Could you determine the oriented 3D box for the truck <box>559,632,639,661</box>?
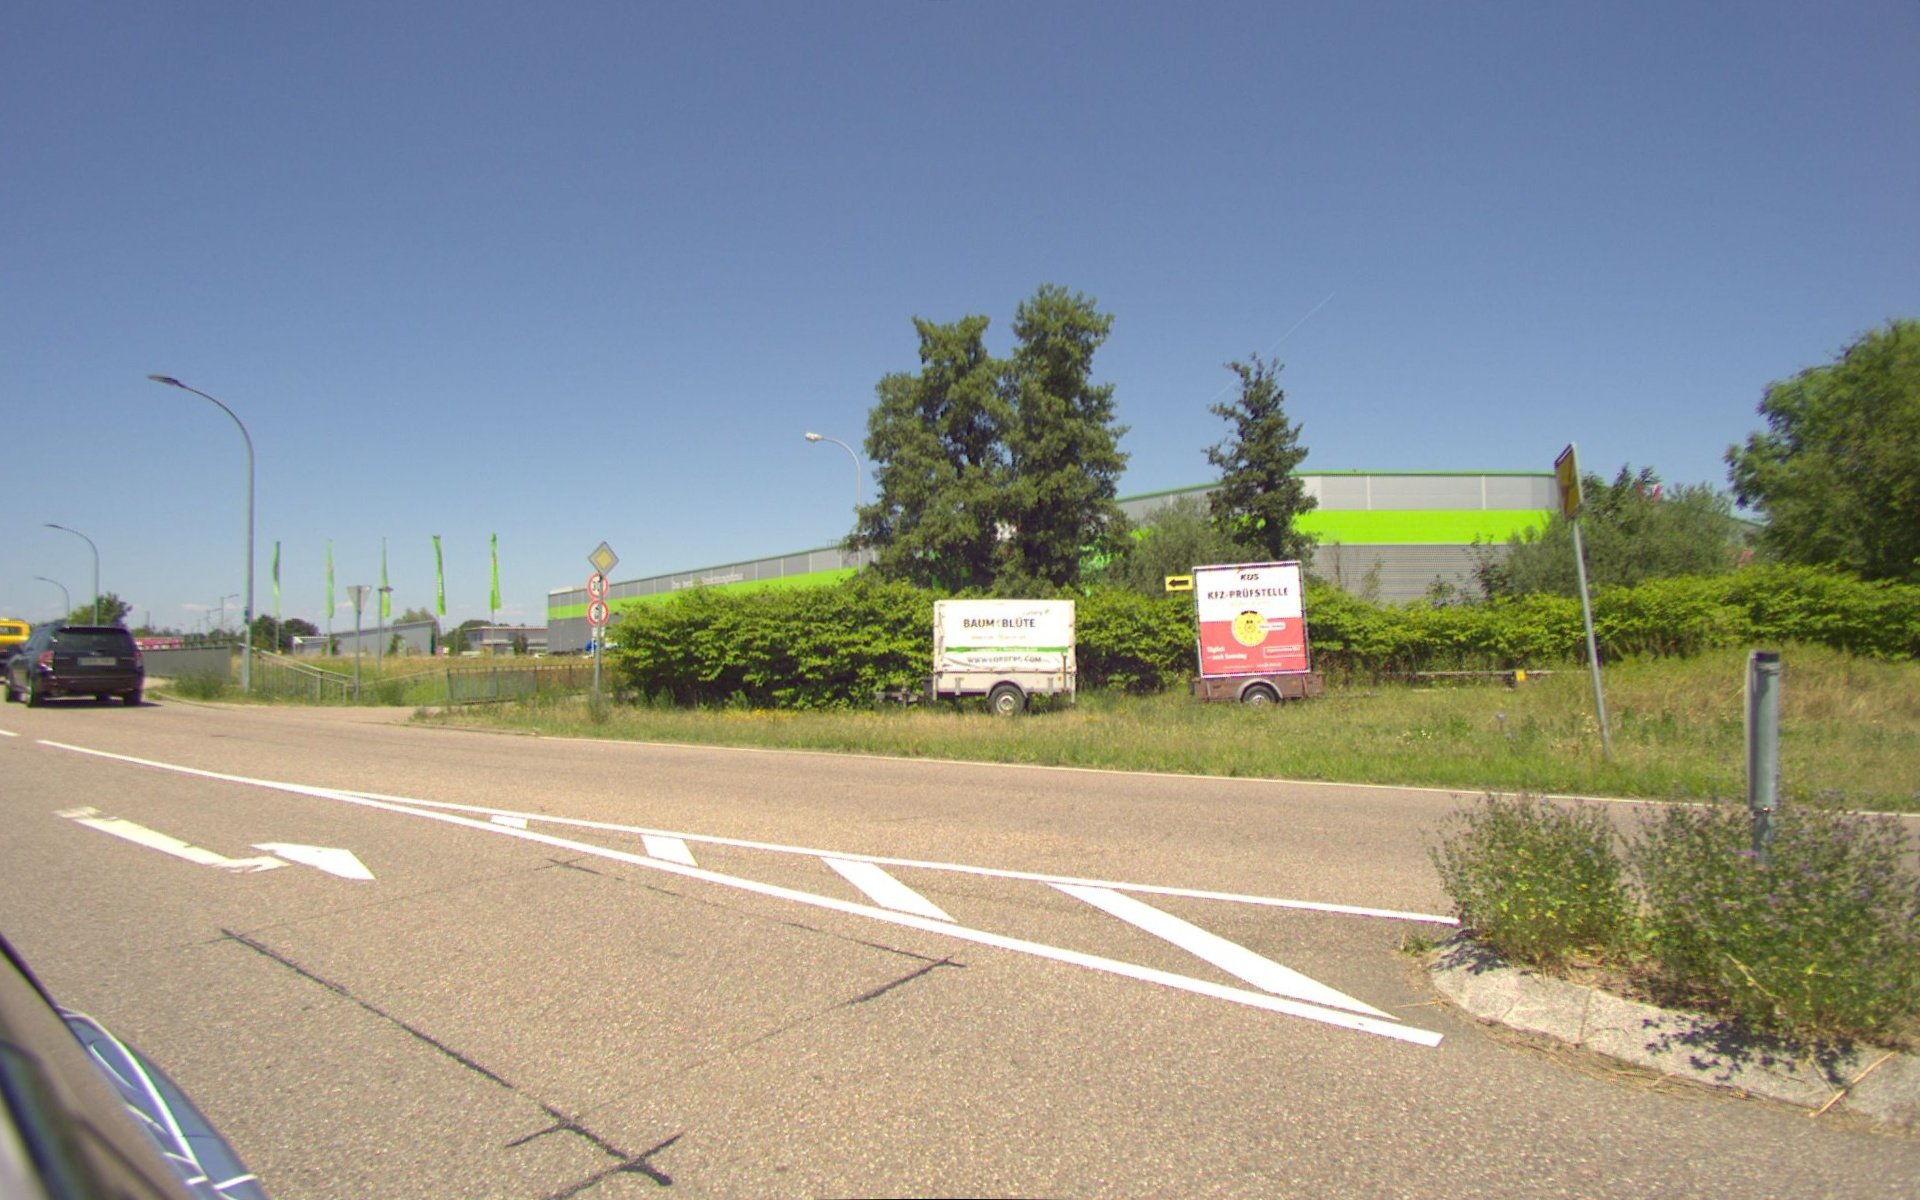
[{"bbox_3d":[-38.684,5.004,108.699,7.656,2.704,2.966,-2,-3,-7],"label":"truck"}]

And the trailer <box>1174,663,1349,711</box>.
[{"bbox_3d":[5.412,1.570,18.472,2.819,0.744,1.562,-1,-1,8],"label":"trailer"}]

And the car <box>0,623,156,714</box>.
[{"bbox_3d":[-18.426,1.361,20.982,3.995,1.715,1.883,-2,-3,39],"label":"car"}]

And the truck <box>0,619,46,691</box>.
[{"bbox_3d":[-34.590,1.935,36.247,2.284,2.355,9.057,4,-5,-44],"label":"truck"}]

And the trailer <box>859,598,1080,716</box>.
[{"bbox_3d":[0.241,1.044,18.846,3.913,2.029,1.852,-1,-1,8],"label":"trailer"}]
